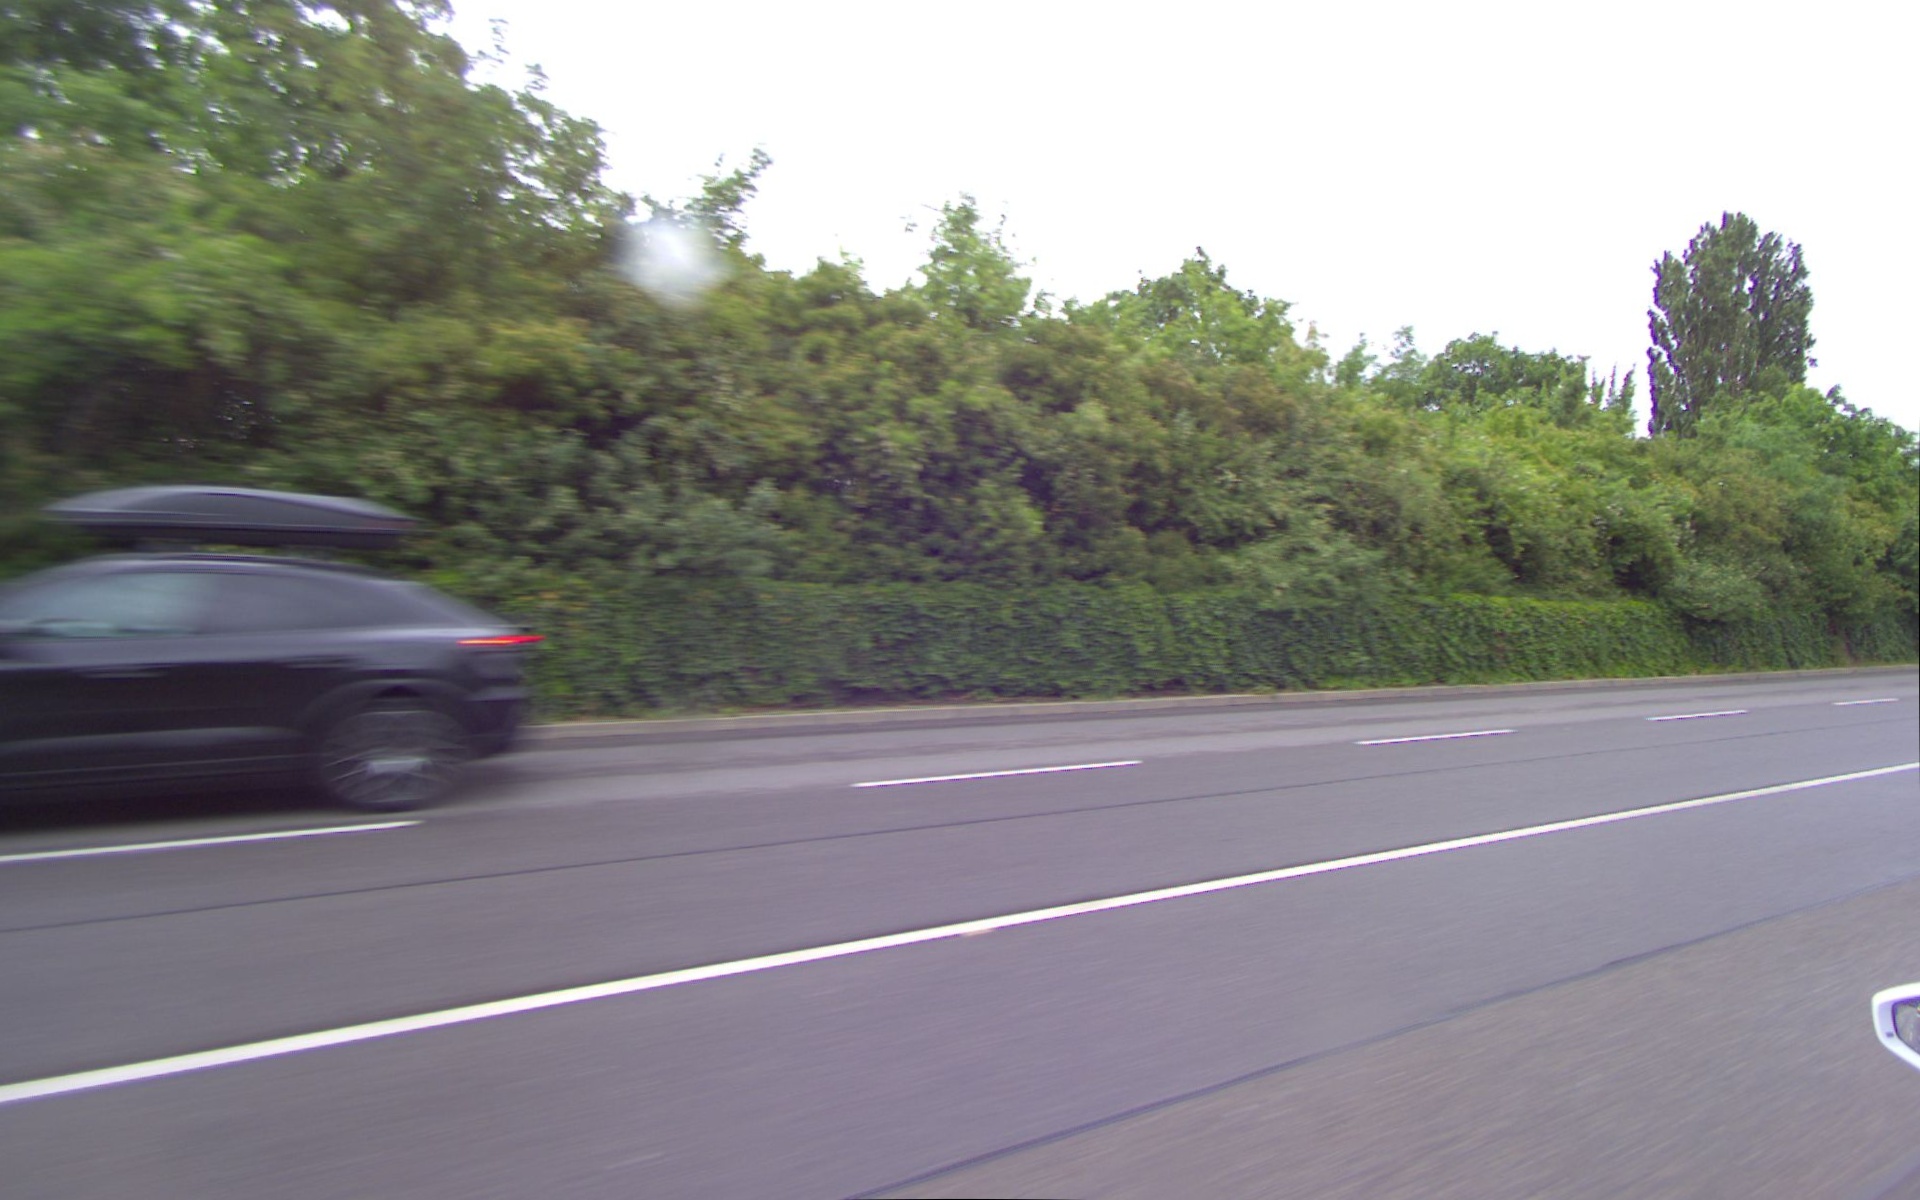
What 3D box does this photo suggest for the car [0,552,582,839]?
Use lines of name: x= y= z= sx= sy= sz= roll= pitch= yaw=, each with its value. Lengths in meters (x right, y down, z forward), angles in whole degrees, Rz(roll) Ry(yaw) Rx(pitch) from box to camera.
car: x=-5.082 y=0.516 z=6.682 sx=4.575 sy=1.573 sz=1.890 roll=1 pitch=1 yaw=-30
